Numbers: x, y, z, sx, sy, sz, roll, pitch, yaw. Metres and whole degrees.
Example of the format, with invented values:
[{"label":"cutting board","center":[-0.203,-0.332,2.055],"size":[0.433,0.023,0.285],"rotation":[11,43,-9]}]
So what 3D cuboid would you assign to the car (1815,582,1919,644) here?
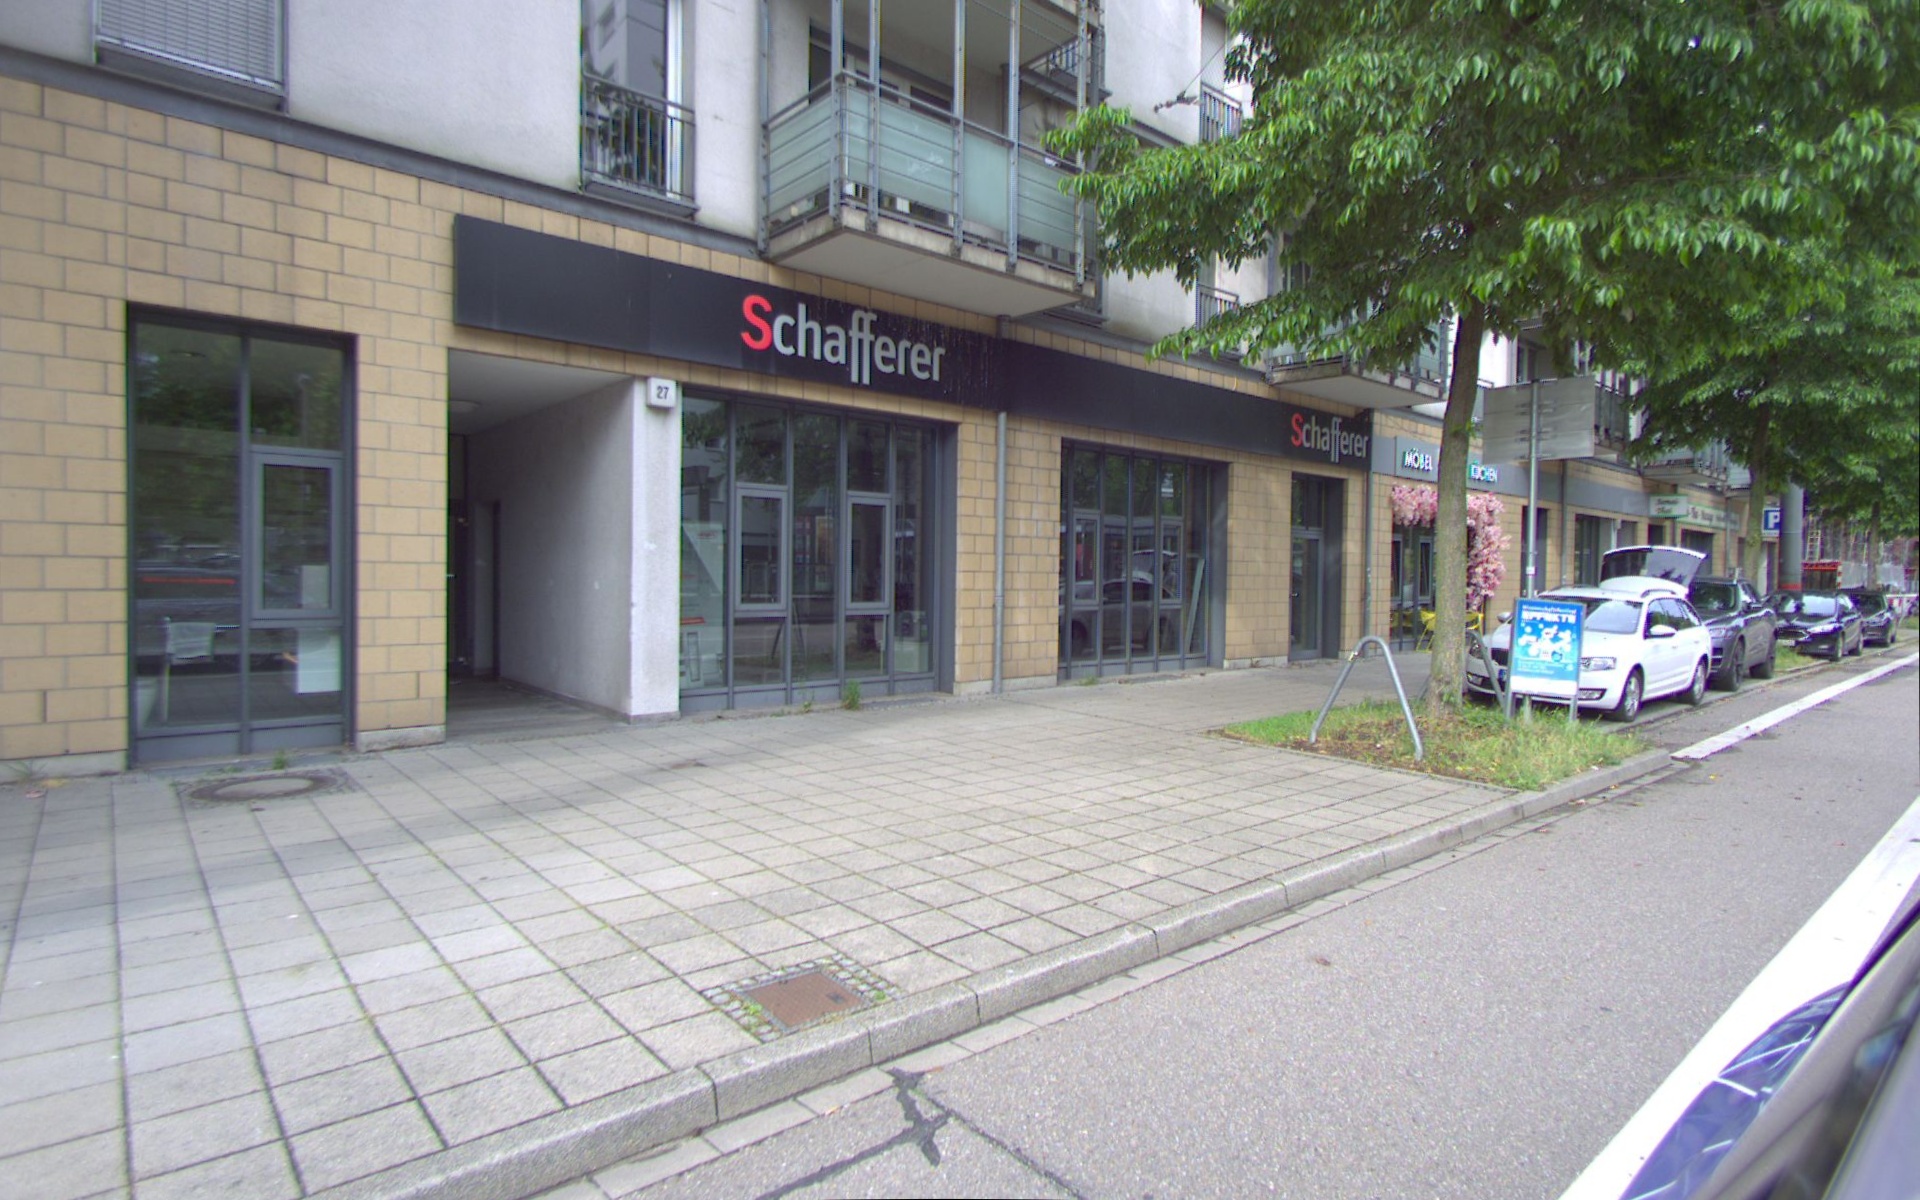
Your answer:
[{"label":"car","center":[24.141,0.291,26.857],"size":[3.603,1.417,1.612],"rotation":[-1,5,-41]}]

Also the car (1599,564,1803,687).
[{"label":"car","center":[11.779,0.321,16.014],"size":[3.732,1.630,1.738],"rotation":[-1,5,-41]}]

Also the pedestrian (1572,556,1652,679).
[{"label":"pedestrian","center":[9.589,0.238,14.889],"size":[0.606,1.737,0.739],"rotation":[0,3,-34]}]

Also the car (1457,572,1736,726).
[{"label":"car","center":[8.107,0.476,12.741],"size":[4.233,1.539,1.738],"rotation":[-1,5,-41]}]

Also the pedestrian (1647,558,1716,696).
[{"label":"pedestrian","center":[10.250,0.359,14.385],"size":[0.588,1.907,0.656],"rotation":[0,1,-41]}]

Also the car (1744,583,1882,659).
[{"label":"car","center":[18.620,0.390,22.031],"size":[4.095,1.394,1.612],"rotation":[-1,5,-41]}]
